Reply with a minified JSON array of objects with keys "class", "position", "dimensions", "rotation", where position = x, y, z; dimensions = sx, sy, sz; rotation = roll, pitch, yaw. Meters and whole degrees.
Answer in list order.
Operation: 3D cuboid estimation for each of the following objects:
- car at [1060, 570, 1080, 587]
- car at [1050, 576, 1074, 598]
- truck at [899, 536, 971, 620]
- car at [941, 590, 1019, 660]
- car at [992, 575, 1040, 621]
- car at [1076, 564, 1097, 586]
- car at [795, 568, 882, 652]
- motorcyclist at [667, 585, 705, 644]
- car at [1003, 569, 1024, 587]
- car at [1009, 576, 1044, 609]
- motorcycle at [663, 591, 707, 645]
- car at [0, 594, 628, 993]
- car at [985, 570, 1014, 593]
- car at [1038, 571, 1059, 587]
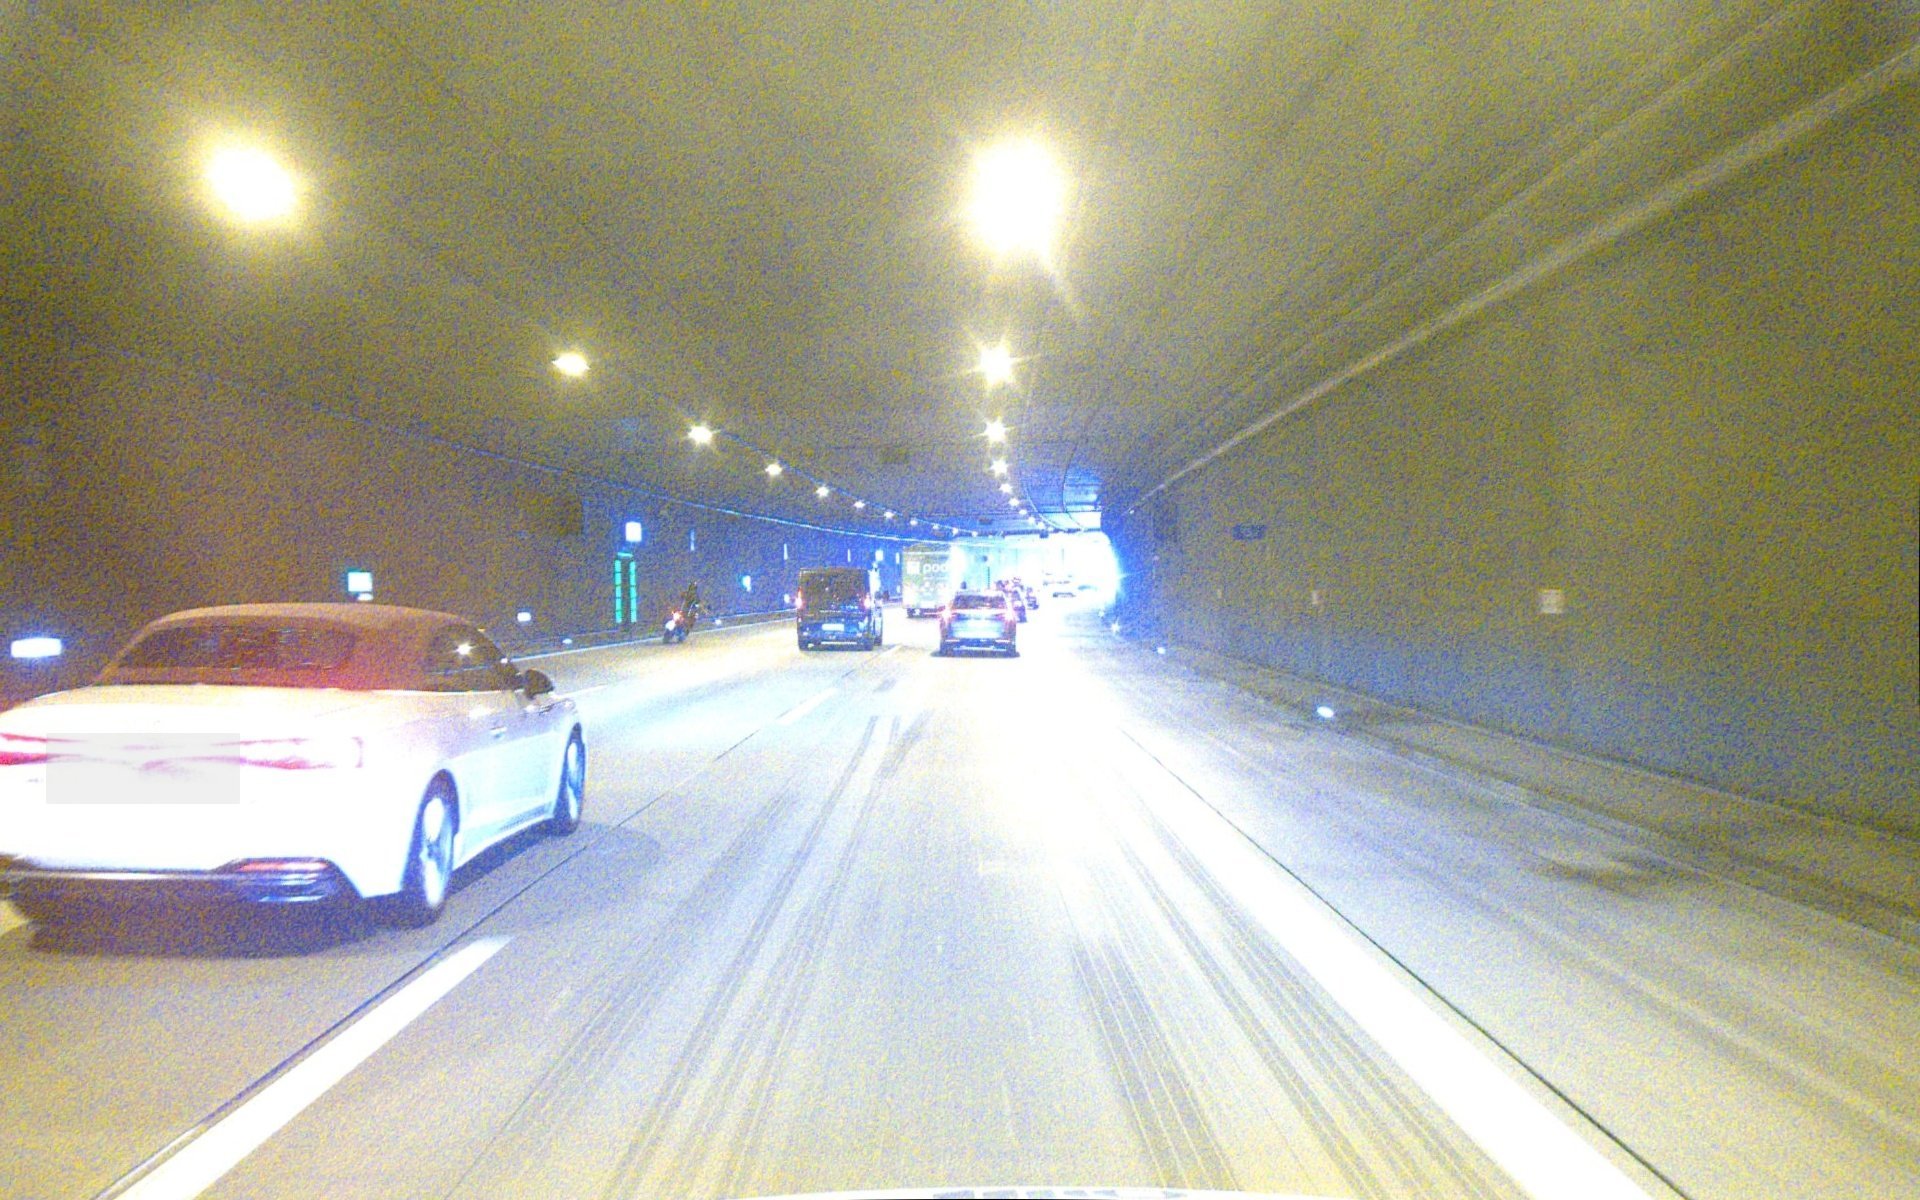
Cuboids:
[{"class":"car","position":[11.794,-2.322,176.975],"dimensions":[1.951,1.660,4.002],"rotation":[0,-1,5]},{"class":"car","position":[8.274,-1.013,134.231],"dimensions":[1.890,1.671,4.001],"rotation":[0,-1,3]},{"class":"truck","position":[-1.088,-1.007,77.386],"dimensions":[2.976,3.737,7.395],"rotation":[0,0,2]},{"class":"car","position":[0.518,0.541,38.787],"dimensions":[1.706,1.489,3.873],"rotation":[0,1,2]},{"class":"car","position":[2.377,-0.083,69.553],"dimensions":[1.818,1.887,4.002],"rotation":[0,0,4]},{"class":"car","position":[12.299,-2.431,161.256],"dimensions":[1.952,2.049,4.001],"rotation":[0,-1,3]},{"class":"car","position":[-2.953,0.197,40.944],"dimensions":[1.870,1.978,3.871],"rotation":[0,1,0]},{"class":"motorcyclist","position":[-7.021,0.376,42.422],"dimensions":[0.761,1.478,1.069],"rotation":[0,-1,2]},{"class":"car","position":[5.399,-2.197,165.853],"dimensions":[1.890,1.671,4.003],"rotation":[0,0,5]},{"class":"car","position":[3.784,-0.427,94.612],"dimensions":[1.910,1.803,4.000],"rotation":[0,-1,1]},{"class":"motorcycle","position":[-7.039,0.463,42.388],"dimensions":[0.668,1.320,2.399],"rotation":[0,-1,2]},{"class":"car","position":[-3.055,0.711,8.682],"dimensions":[1.667,1.443,5.059],"rotation":[0,0,-1]},{"class":"car","position":[3.038,-1.375,125.386],"dimensions":[1.951,1.660,4.002],"rotation":[0,0,5]},{"class":"car","position":[10.148,-2.437,189.591],"dimensions":[1.889,1.671,4.003],"rotation":[0,-1,10]}]
